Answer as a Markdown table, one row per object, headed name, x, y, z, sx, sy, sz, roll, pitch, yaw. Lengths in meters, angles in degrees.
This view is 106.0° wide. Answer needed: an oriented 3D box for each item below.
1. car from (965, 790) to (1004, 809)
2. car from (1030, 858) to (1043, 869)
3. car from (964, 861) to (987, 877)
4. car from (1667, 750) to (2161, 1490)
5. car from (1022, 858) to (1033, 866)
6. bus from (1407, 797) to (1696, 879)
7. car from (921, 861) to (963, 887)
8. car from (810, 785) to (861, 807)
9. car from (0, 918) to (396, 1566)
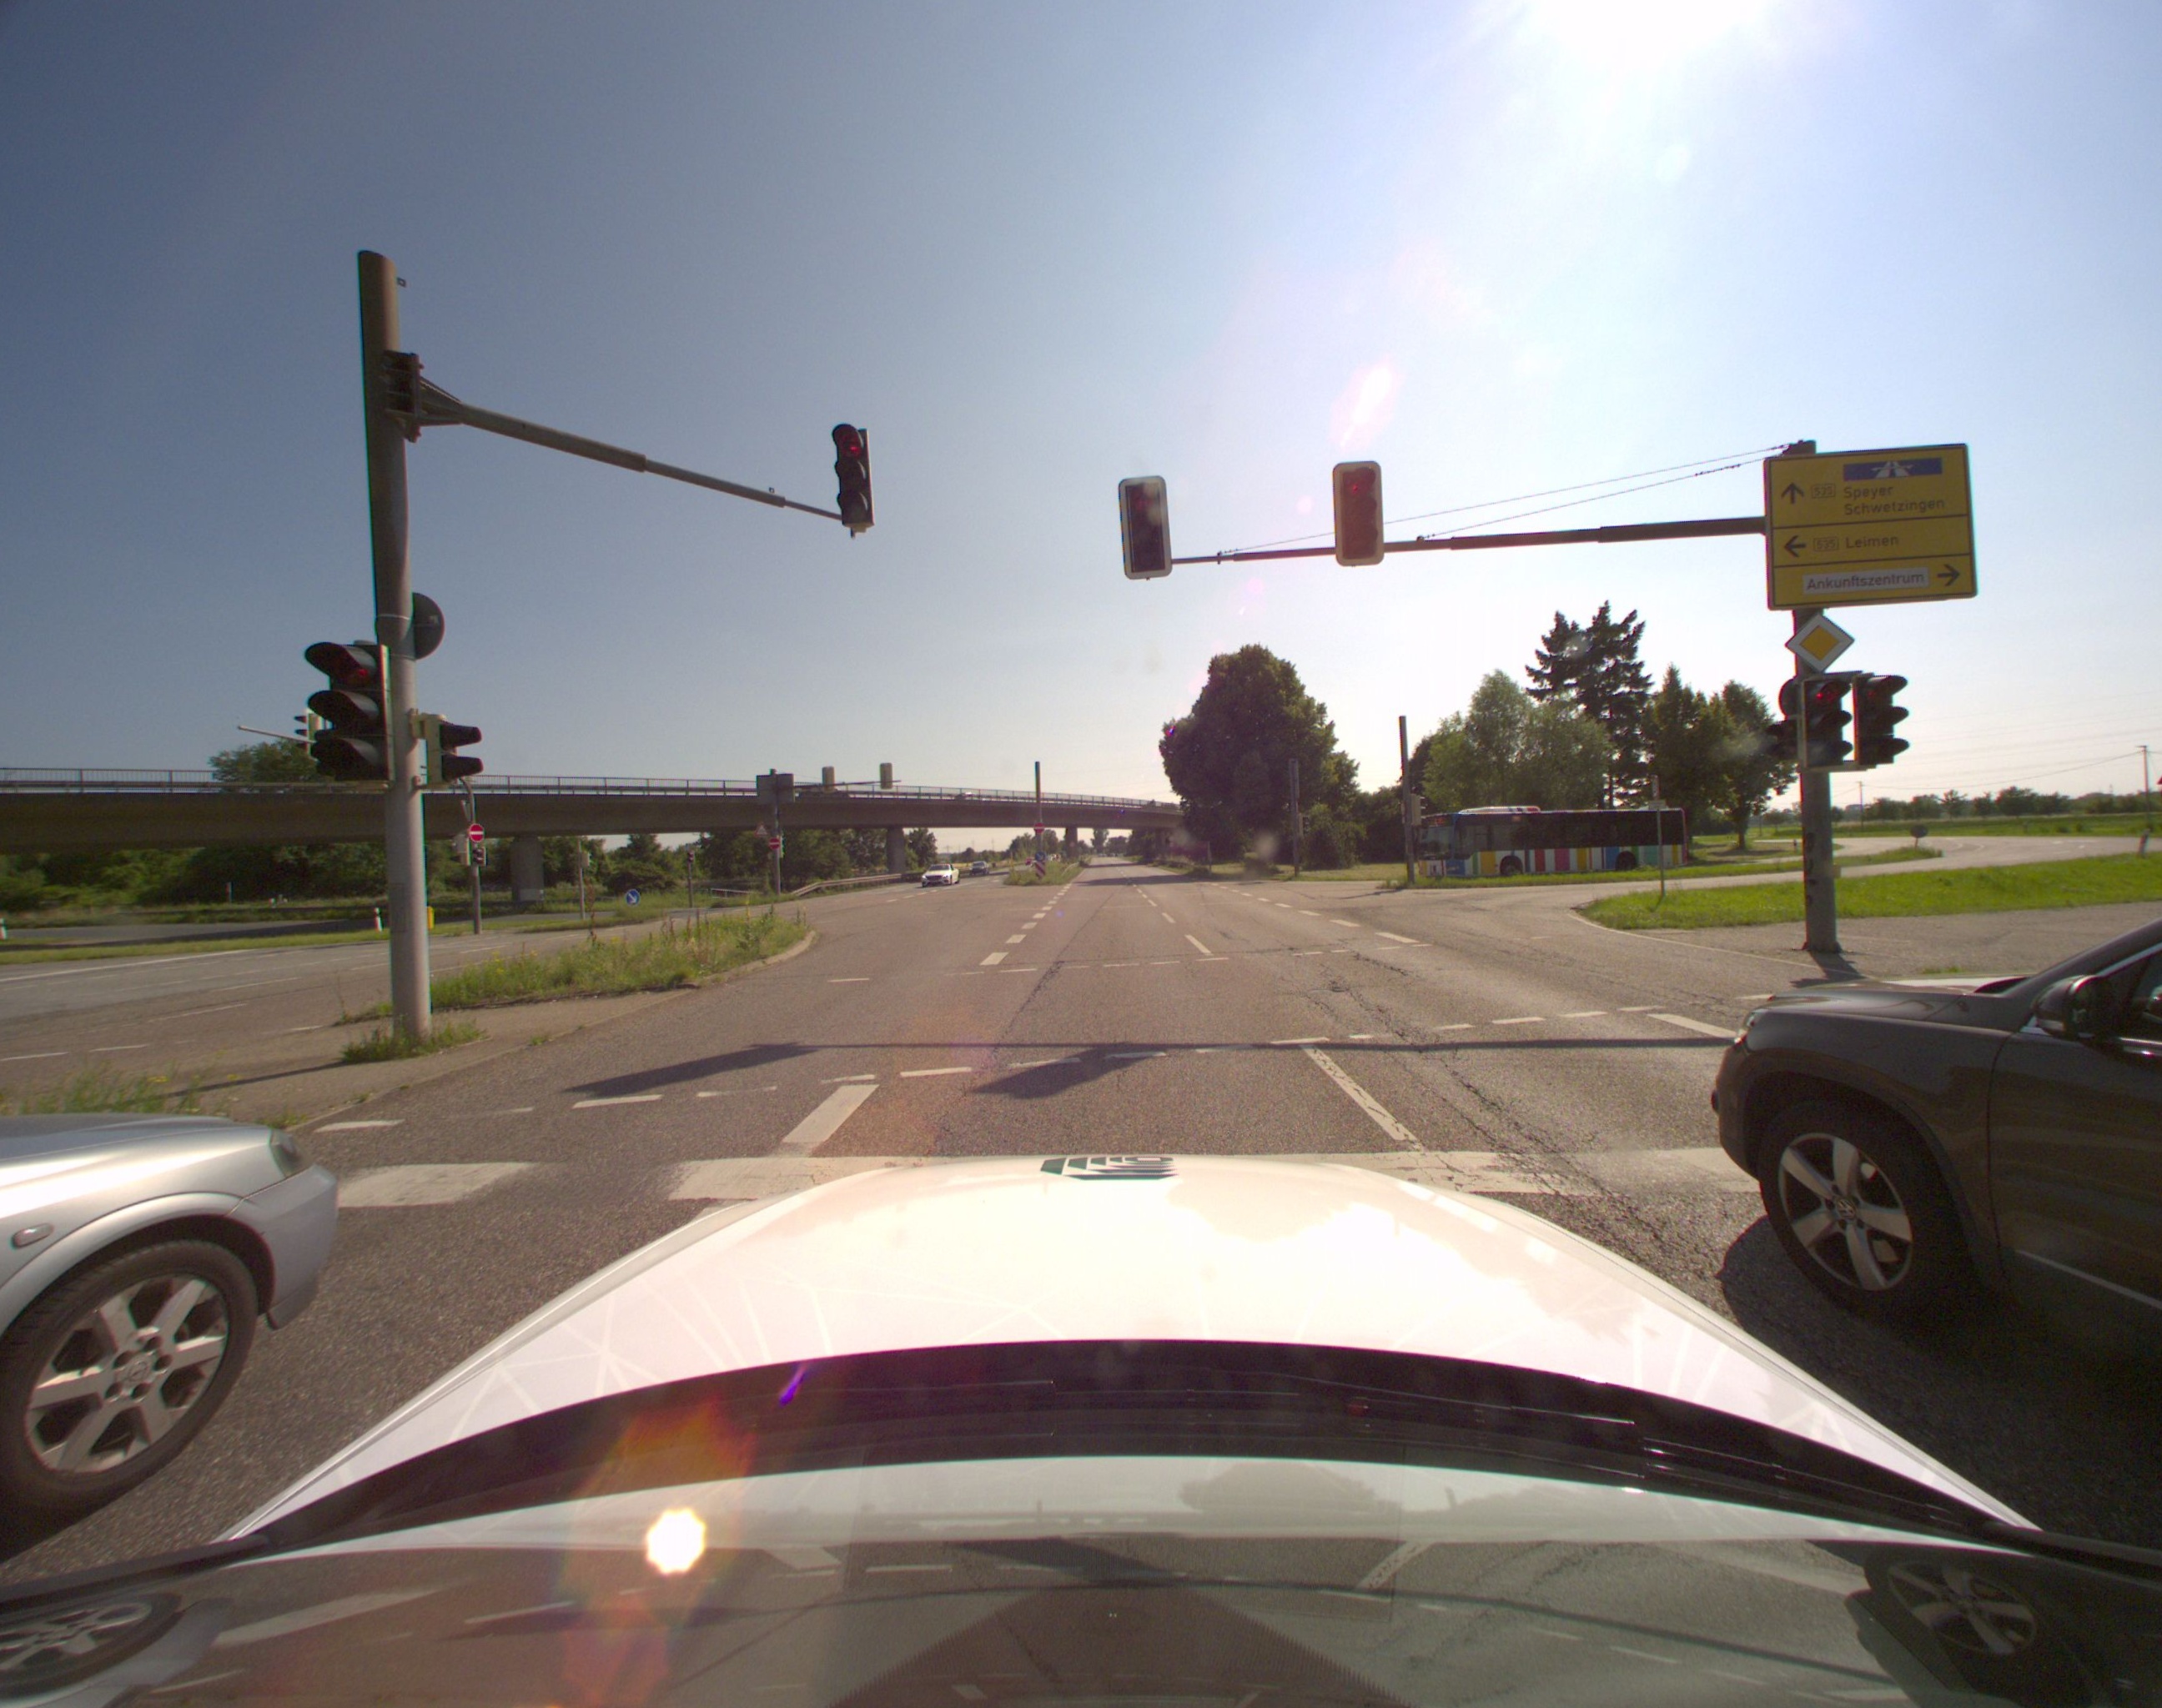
| name | x | y | z | sx | sy | sz | roll | pitch | yaw |
| --- | --- | --- | --- | --- | --- | --- | --- | --- | --- |
| car | -9.188 | -5.157 | 77.739 | 1.721 | 1.469 | 3.773 | -1 | -1 | 31 |
| car | -7.063 | 1.520 | 129.070 | 1.551 | 1.540 | 4.001 | -3 | 0 | 2 |
| car | -11.658 | 1.610 | 90.178 | 1.784 | 1.628 | 4.000 | -3 | 0 | 1 |
| car | 3.273 | 0.585 | 1.299 | 1.749 | 1.655 | 4.147 | -1 | 0 | 1 |
| car | -11.325 | 1.778 | 173.363 | 1.987 | 1.558 | 4.000 | -3 | 0 | 1 |
| bus | 20.225 | -0.710 | 35.012 | 11.954 | 2.877 | 2.928 | -3 | 0 | -14 |
| car | -9.063 | 1.269 | 53.396 | 1.850 | 1.448 | 4.241 | -5 | 0 | 1 |
| car | -18.987 | -4.493 | 63.061 | 1.521 | 1.477 | 3.413 | -5 | -1 | 39 |
| car | -3.261 | 0.926 | 0.729 | 1.667 | 1.335 | 4.100 | -3 | 0 | 2 |
